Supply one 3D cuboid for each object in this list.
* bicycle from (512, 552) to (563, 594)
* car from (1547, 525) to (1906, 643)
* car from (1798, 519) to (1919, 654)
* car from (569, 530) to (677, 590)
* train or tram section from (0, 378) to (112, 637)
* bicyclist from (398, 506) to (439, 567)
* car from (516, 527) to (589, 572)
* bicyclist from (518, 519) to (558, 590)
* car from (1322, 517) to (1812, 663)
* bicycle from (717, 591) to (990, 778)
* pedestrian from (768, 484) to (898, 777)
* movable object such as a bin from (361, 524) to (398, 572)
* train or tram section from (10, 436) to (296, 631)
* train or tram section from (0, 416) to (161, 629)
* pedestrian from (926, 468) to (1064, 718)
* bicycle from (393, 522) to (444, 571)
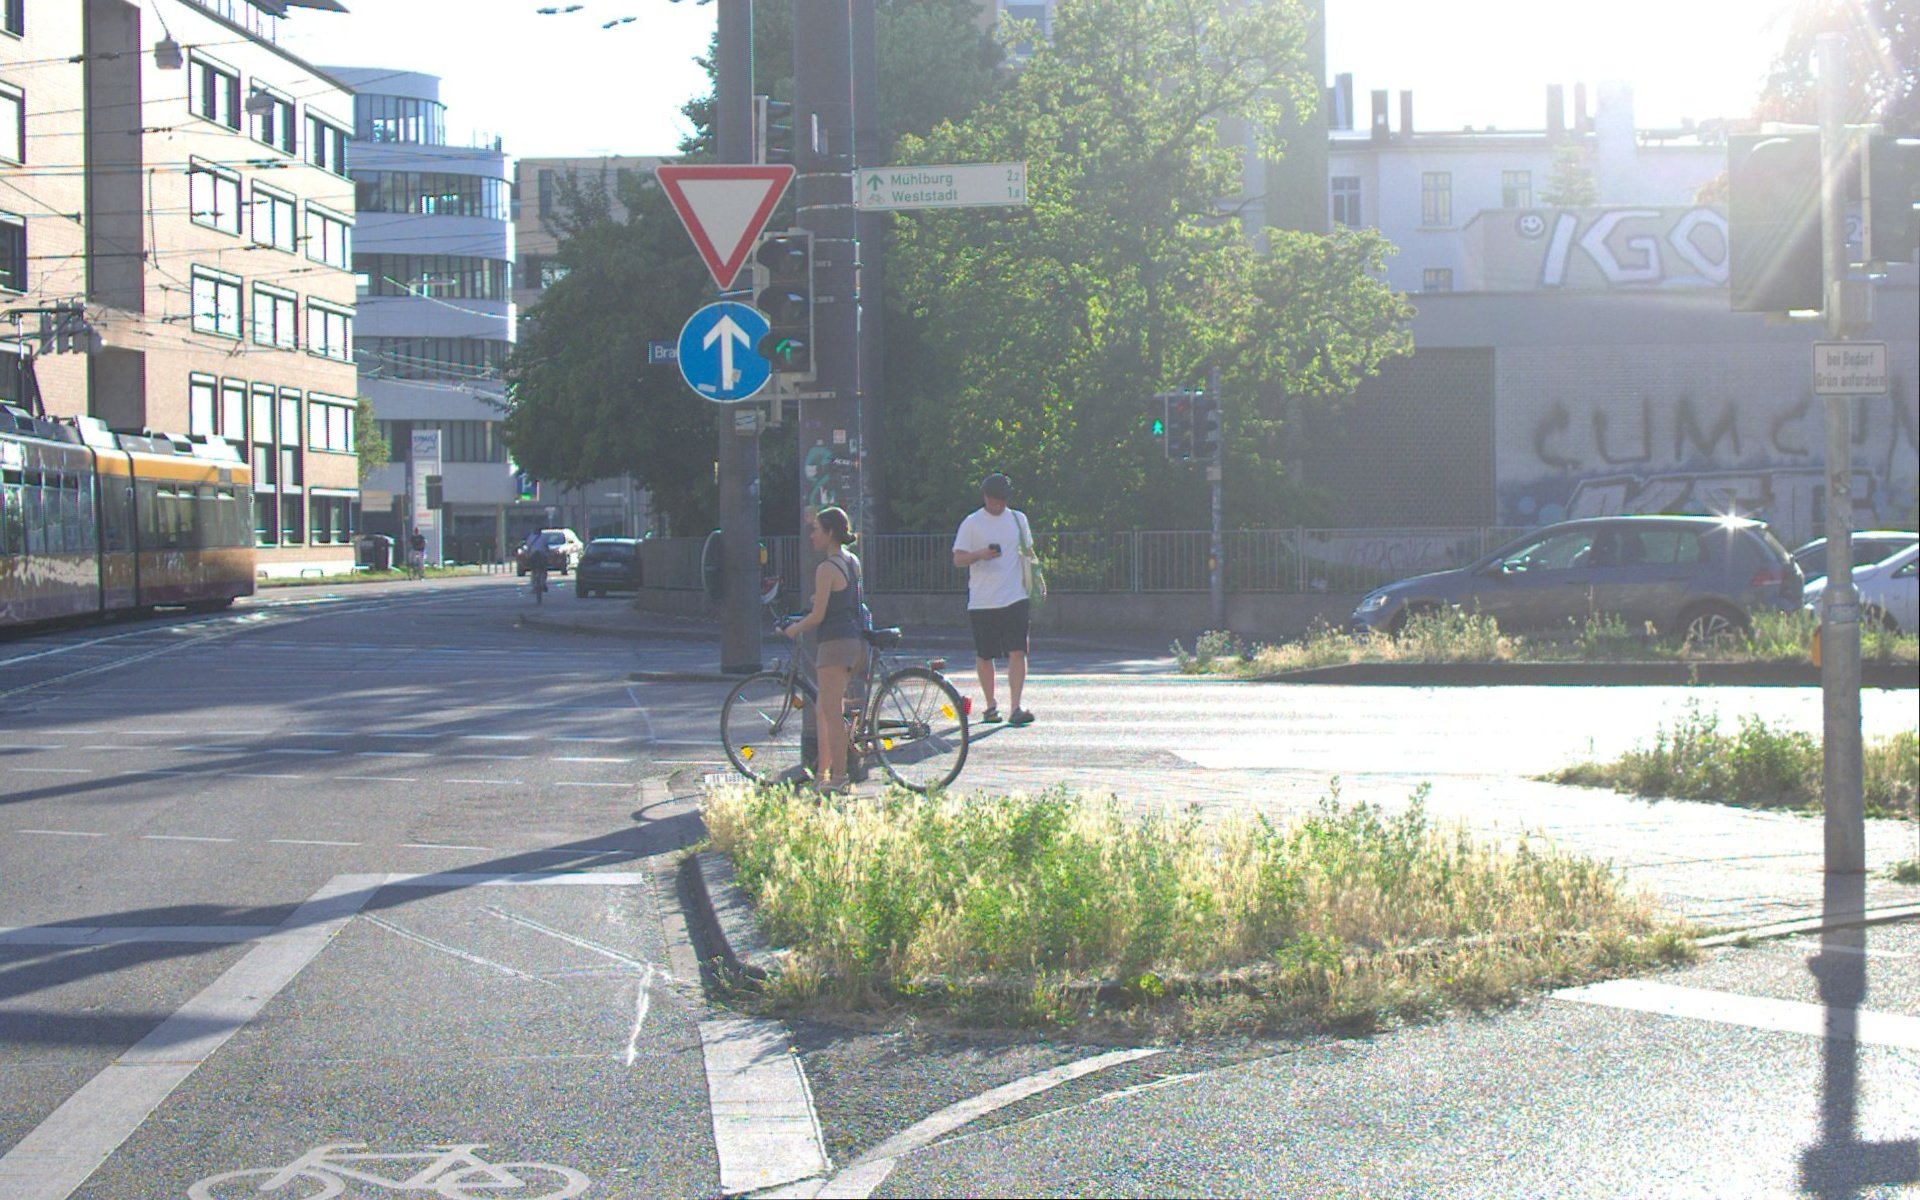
[{"bbox_3d":[-9.043,-0.583,73.631,0.695,0.874,2.026,-1,1,4],"label":"bicycle"},{"bbox_3d":[8.785,-0.183,39.332,3.885,1.292,1.723,0,1,17],"label":"car"},{"bbox_3d":[10.371,-0.154,34.141,3.885,1.315,1.723,0,1,17],"label":"car"},{"bbox_3d":[-8.105,-0.988,83.073,1.785,1.383,3.999,-1,1,7],"label":"car"},{"bbox_3d":[-14.817,-1.304,50.330,2.860,3.496,13.018,-1,1,-6],"label":"train or tram section"},{"bbox_3d":[-18.352,-2.145,116.566,1.030,2.007,1.246,1,0,6],"label":"bicyclist"},{"bbox_3d":[-14.790,-1.849,124.973,1.816,1.609,4.465,-1,1,4],"label":"car"},{"bbox_3d":[-9.047,-0.976,73.695,0.673,1.517,0.813,-1,1,4],"label":"bicyclist"},{"bbox_3d":[5.656,-0.099,31.986,4.239,1.292,1.722,0,1,21],"label":"car"},{"bbox_3d":[-0.620,0.463,19.575,1.670,1.025,0.399,0,1,38],"label":"bicycle"},{"bbox_3d":[-0.717,0.165,19.420,0.525,1.626,0.488,0,1,38],"label":"pedestrian"},{"bbox_3d":[-19.980,-1.803,118.262,1.066,1.623,0.889,-1,1,3],"label":"movable object such as a bin"},{"bbox_3d":[-15.705,-1.319,67.907,2.860,3.496,11.298,-1,1,0],"label":"train or tram section"},{"bbox_3d":[-15.738,-1.322,59.493,2.860,3.496,5.304,-1,1,-4],"label":"train or tram section"},{"bbox_3d":[0.261,-0.059,25.059,0.909,1.783,0.827,-1,1,6],"label":"pedestrian"},{"bbox_3d":[-18.358,-1.822,116.587,1.030,1.645,2.560,-1,1,7],"label":"bicycle"}]
